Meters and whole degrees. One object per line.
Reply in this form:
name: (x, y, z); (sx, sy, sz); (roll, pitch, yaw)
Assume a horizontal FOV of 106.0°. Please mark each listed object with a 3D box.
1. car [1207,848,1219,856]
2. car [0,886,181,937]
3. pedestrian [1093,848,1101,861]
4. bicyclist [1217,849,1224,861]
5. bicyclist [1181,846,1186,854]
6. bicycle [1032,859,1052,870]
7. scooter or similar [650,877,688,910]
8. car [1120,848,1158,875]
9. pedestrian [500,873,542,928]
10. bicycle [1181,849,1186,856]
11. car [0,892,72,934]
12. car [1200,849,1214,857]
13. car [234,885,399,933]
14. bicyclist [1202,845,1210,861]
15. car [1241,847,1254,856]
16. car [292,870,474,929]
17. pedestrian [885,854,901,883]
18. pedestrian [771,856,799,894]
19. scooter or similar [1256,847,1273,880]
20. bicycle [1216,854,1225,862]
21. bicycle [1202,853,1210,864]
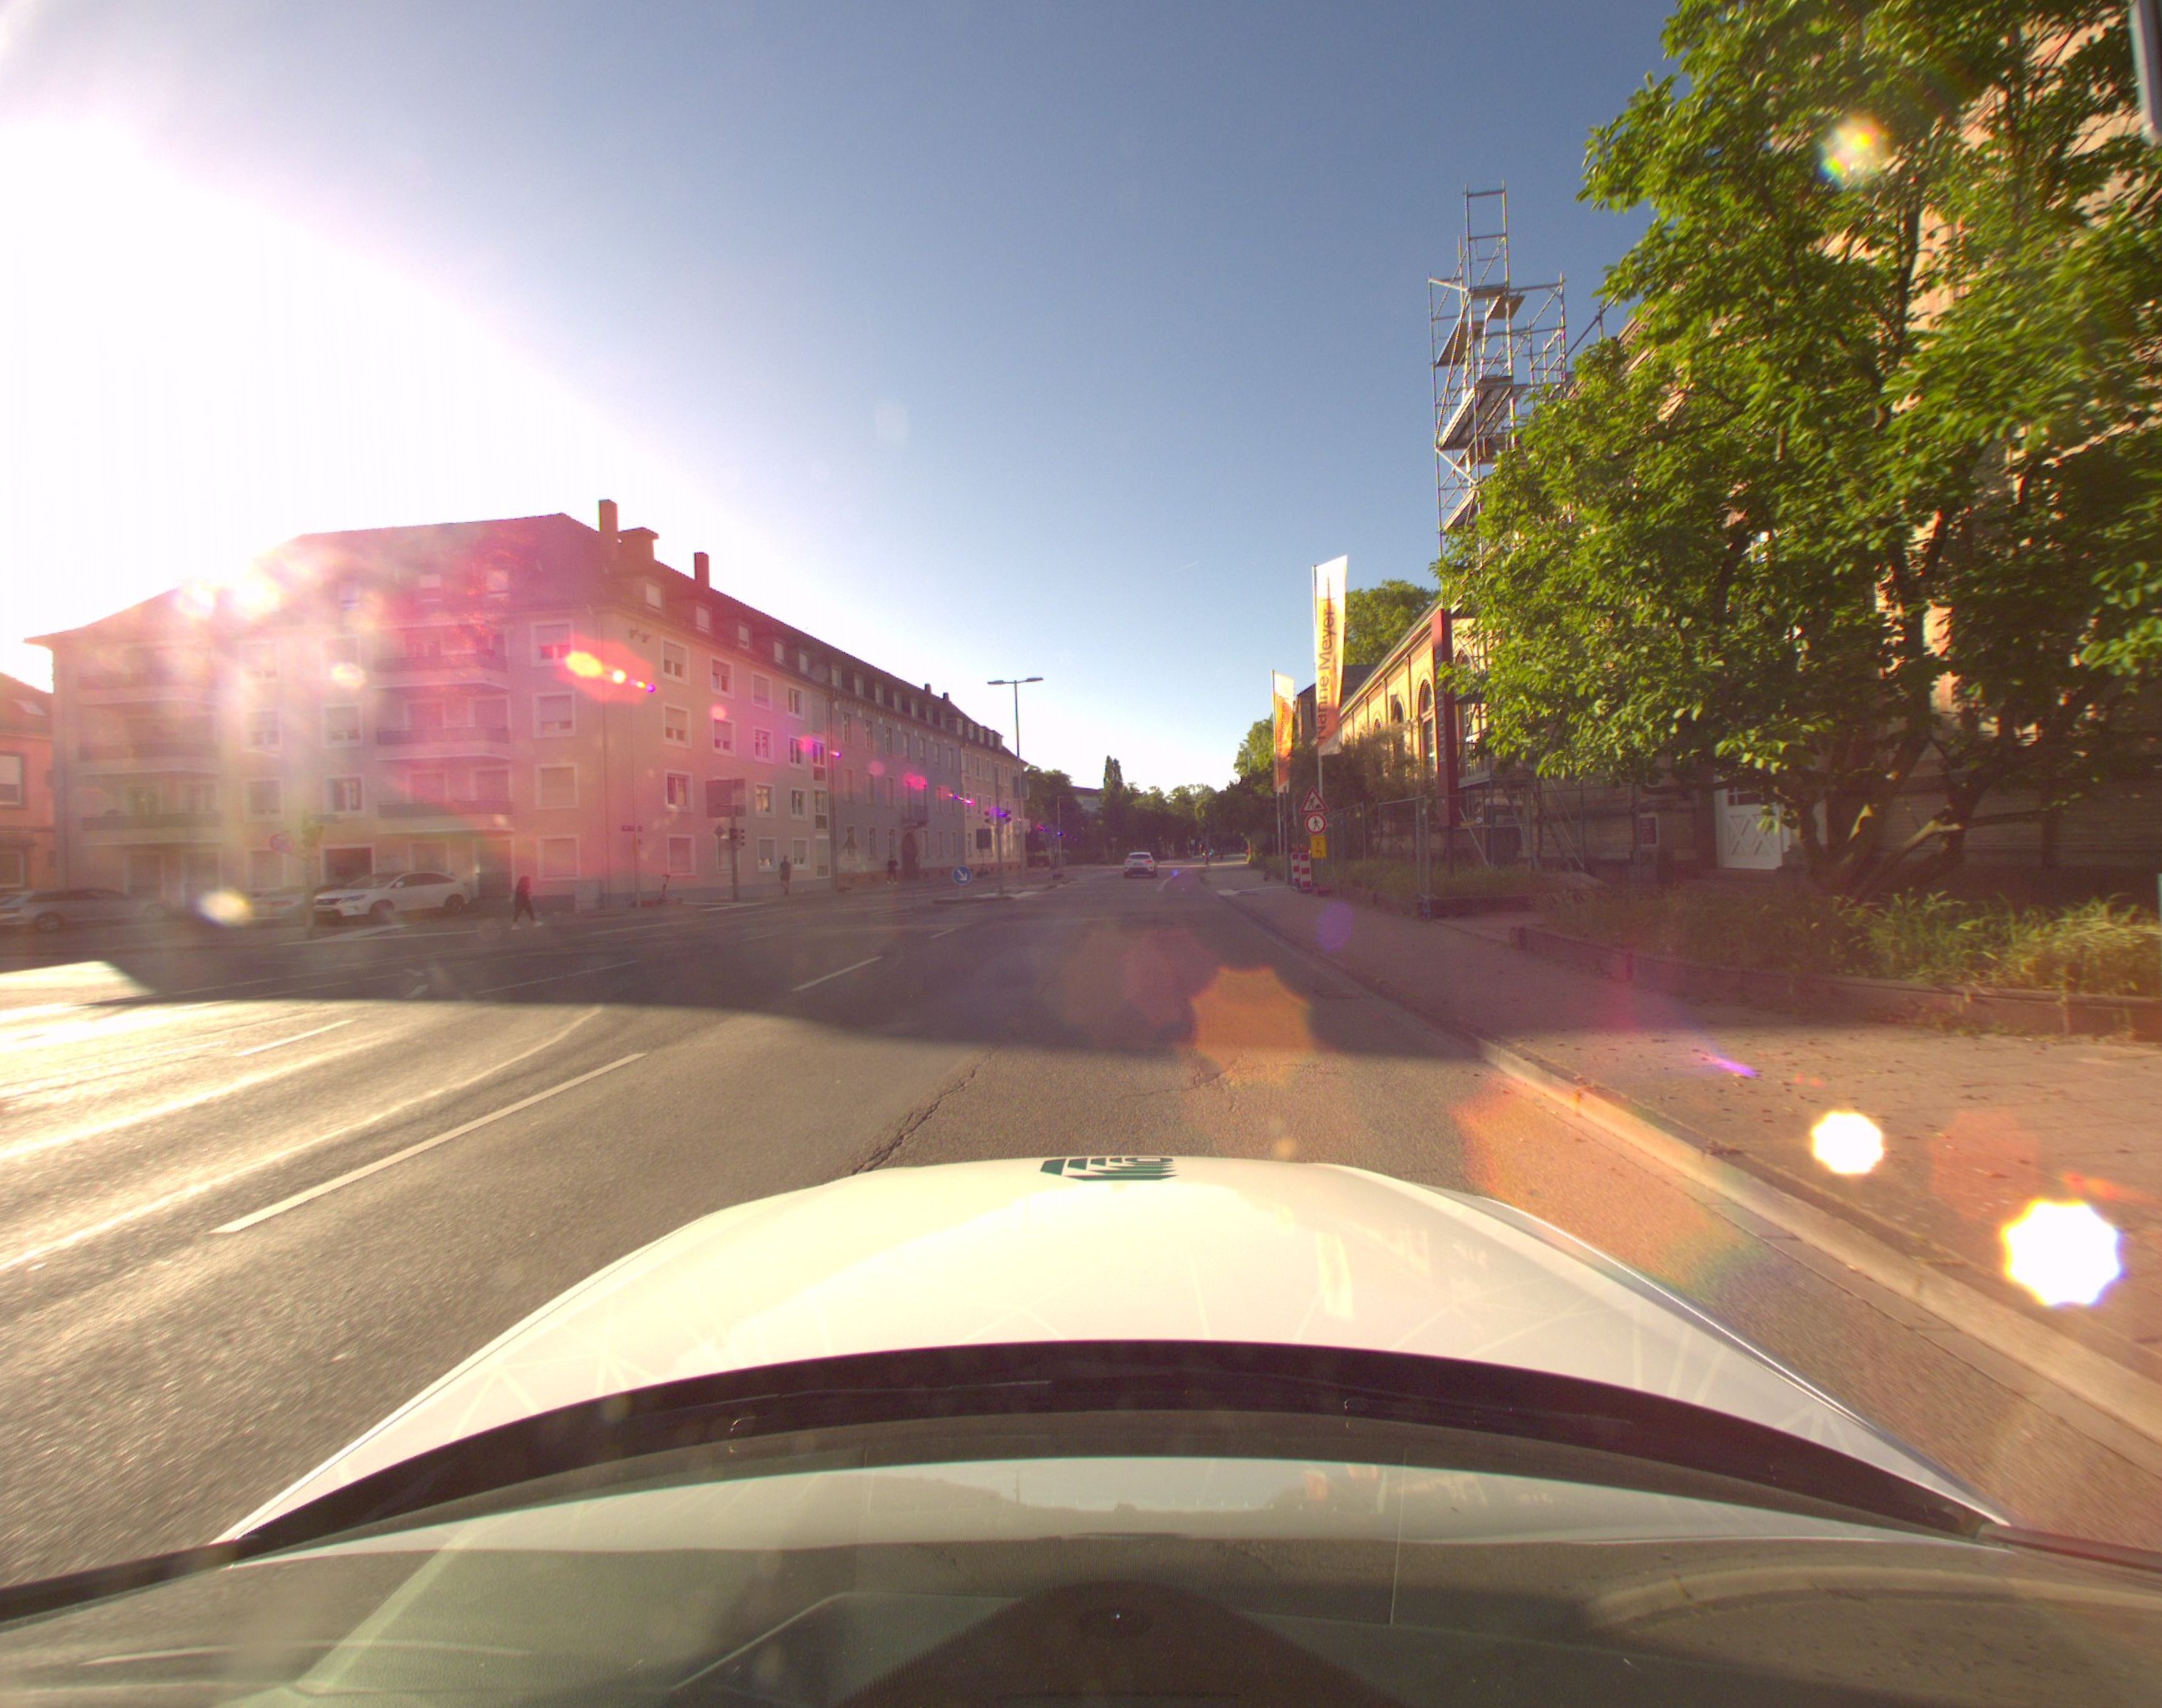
car: (27.157, -0.373, 167.258); (1.743, 1.459, 4.020); (-3, 0, 20)
car: (-35.738, 2.011, 28.886); (1.983, 1.432, 4.795); (-2, 0, 6)
pedestrian: (2.342, 0.087, 117.548); (0.849, 1.851, 1.005); (-3, -1, 16)
bicyclist: (17.802, 0.145, 103.880); (0.741, 1.537, 0.974); (-2, 0, 18)
bicyclist: (19.047, -0.742, 151.700); (0.624, 1.522, 0.727); (-5, -1, 15)
bicycle: (-4.823, 1.239, 99.848); (2.302, 1.230, 0.563); (-3, 0, 16)
scooter or similar: (-16.265, 1.548, 32.197); (0.530, 1.185, 1.478); (-1, 0, 11)
car: (3.493, 0.454, 48.588); (1.983, 1.453, 4.008); (-3, 0, 7)
pedestrian: (-16.696, 1.374, 24.293); (0.627, 1.583, 0.820); (1, 0, 9)
bicycle: (19.095, -0.247, 151.630); (0.592, 1.120, 2.035); (-6, -1, 15)
car: (-40.479, 2.263, 29.348); (1.983, 1.432, 4.795); (-2, 0, 6)
car: (24.034, -0.127, 155.357); (1.797, 1.419, 4.577); (-3, 0, 19)
car: (-26.029, 1.836, 27.927); (1.598, 1.310, 4.006); (-2, 0, 5)
bicyclist: (12.233, -0.114, 79.823); (0.631, 1.614, 1.288); (-1, 0, 13)
car: (31.763, -0.545, 155.472); (1.913, 1.533, 4.019); (-3, 0, 18)
car: (-23.704, 1.477, 27.951); (1.984, 1.686, 4.621); (-2, 0, 5)
pedestrian: (-12.244, 0.938, 53.017); (0.627, 1.846, 1.016); (1, 0, 10)
pedestrian: (-14.550, 1.017, 40.080); (0.862, 1.863, 1.018); (0, 0, 11)
scooter or similar: (7.735, 0.385, 34.324); (0.552, 1.308, 1.837); (-2, 0, 9)
bicycle: (17.789, 0.503, 103.785); (0.747, 1.026, 1.878); (-1, -1, 18)
bicycle: (12.248, 0.441, 79.820); (0.639, 1.024, 2.220); (-1, 0, 12)
